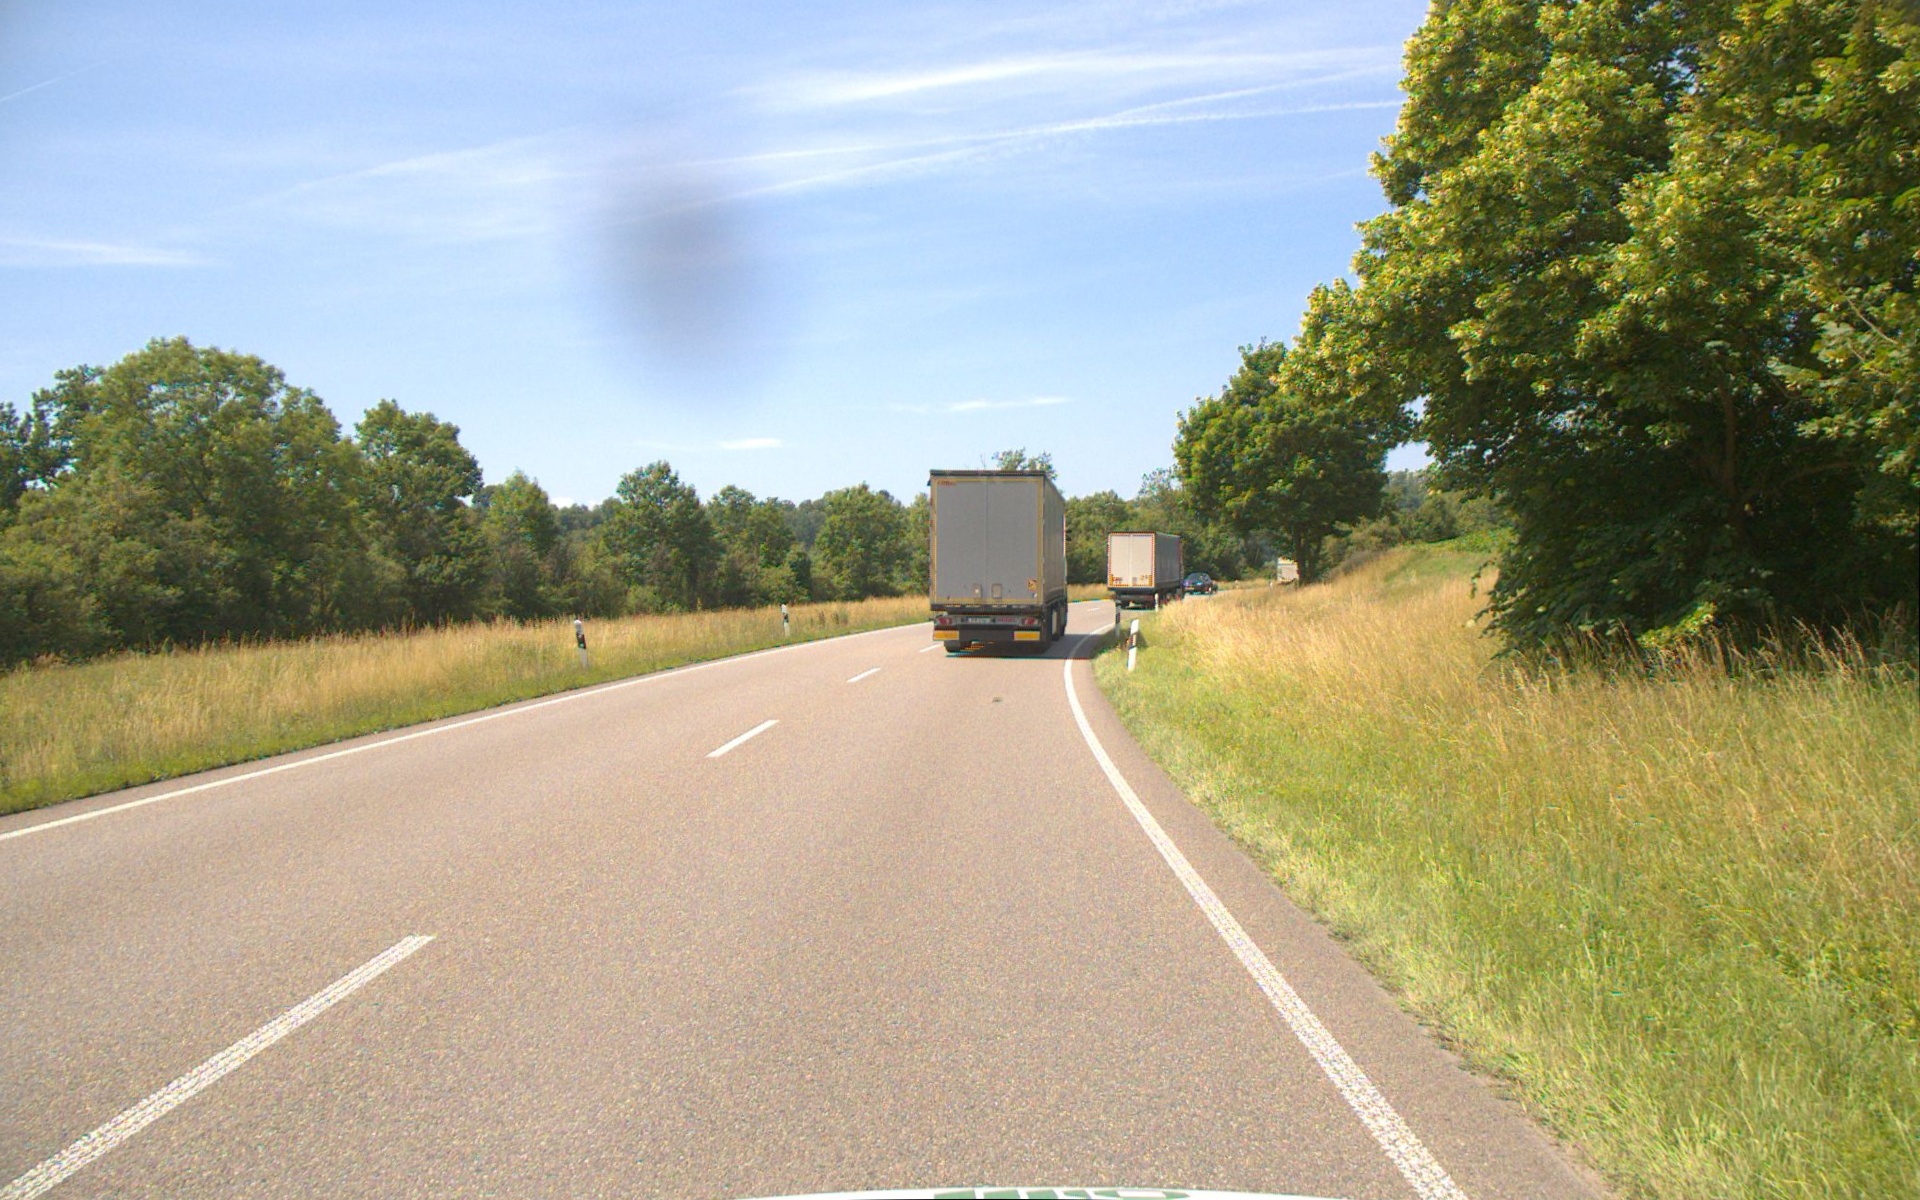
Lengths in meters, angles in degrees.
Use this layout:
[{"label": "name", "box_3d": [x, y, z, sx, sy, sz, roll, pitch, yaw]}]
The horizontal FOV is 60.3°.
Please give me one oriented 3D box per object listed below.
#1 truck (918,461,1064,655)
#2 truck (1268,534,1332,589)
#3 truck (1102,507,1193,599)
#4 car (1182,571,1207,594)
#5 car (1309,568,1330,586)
[{"label": "truck", "box_3d": [1.141, -0.924, 43.273, 2.742, 4.140, 15.334, -1, 0, 5]}, {"label": "truck", "box_3d": [32.107, -3.497, 155.613, 3.041, 4.788, 16.588, -1, 0, 22]}, {"label": "truck", "box_3d": [10.920, -2.499, 94.621, 3.039, 4.788, 16.602, -1, 0, 14]}, {"label": "car", "box_3d": [18.953, -1.412, 133.579, 1.498, 1.747, 3.826, -1, 0, 16]}, {"label": "car", "box_3d": [36.530, -2.314, 168.072, 1.499, 1.829, 3.823, -1, 0, 22]}]
